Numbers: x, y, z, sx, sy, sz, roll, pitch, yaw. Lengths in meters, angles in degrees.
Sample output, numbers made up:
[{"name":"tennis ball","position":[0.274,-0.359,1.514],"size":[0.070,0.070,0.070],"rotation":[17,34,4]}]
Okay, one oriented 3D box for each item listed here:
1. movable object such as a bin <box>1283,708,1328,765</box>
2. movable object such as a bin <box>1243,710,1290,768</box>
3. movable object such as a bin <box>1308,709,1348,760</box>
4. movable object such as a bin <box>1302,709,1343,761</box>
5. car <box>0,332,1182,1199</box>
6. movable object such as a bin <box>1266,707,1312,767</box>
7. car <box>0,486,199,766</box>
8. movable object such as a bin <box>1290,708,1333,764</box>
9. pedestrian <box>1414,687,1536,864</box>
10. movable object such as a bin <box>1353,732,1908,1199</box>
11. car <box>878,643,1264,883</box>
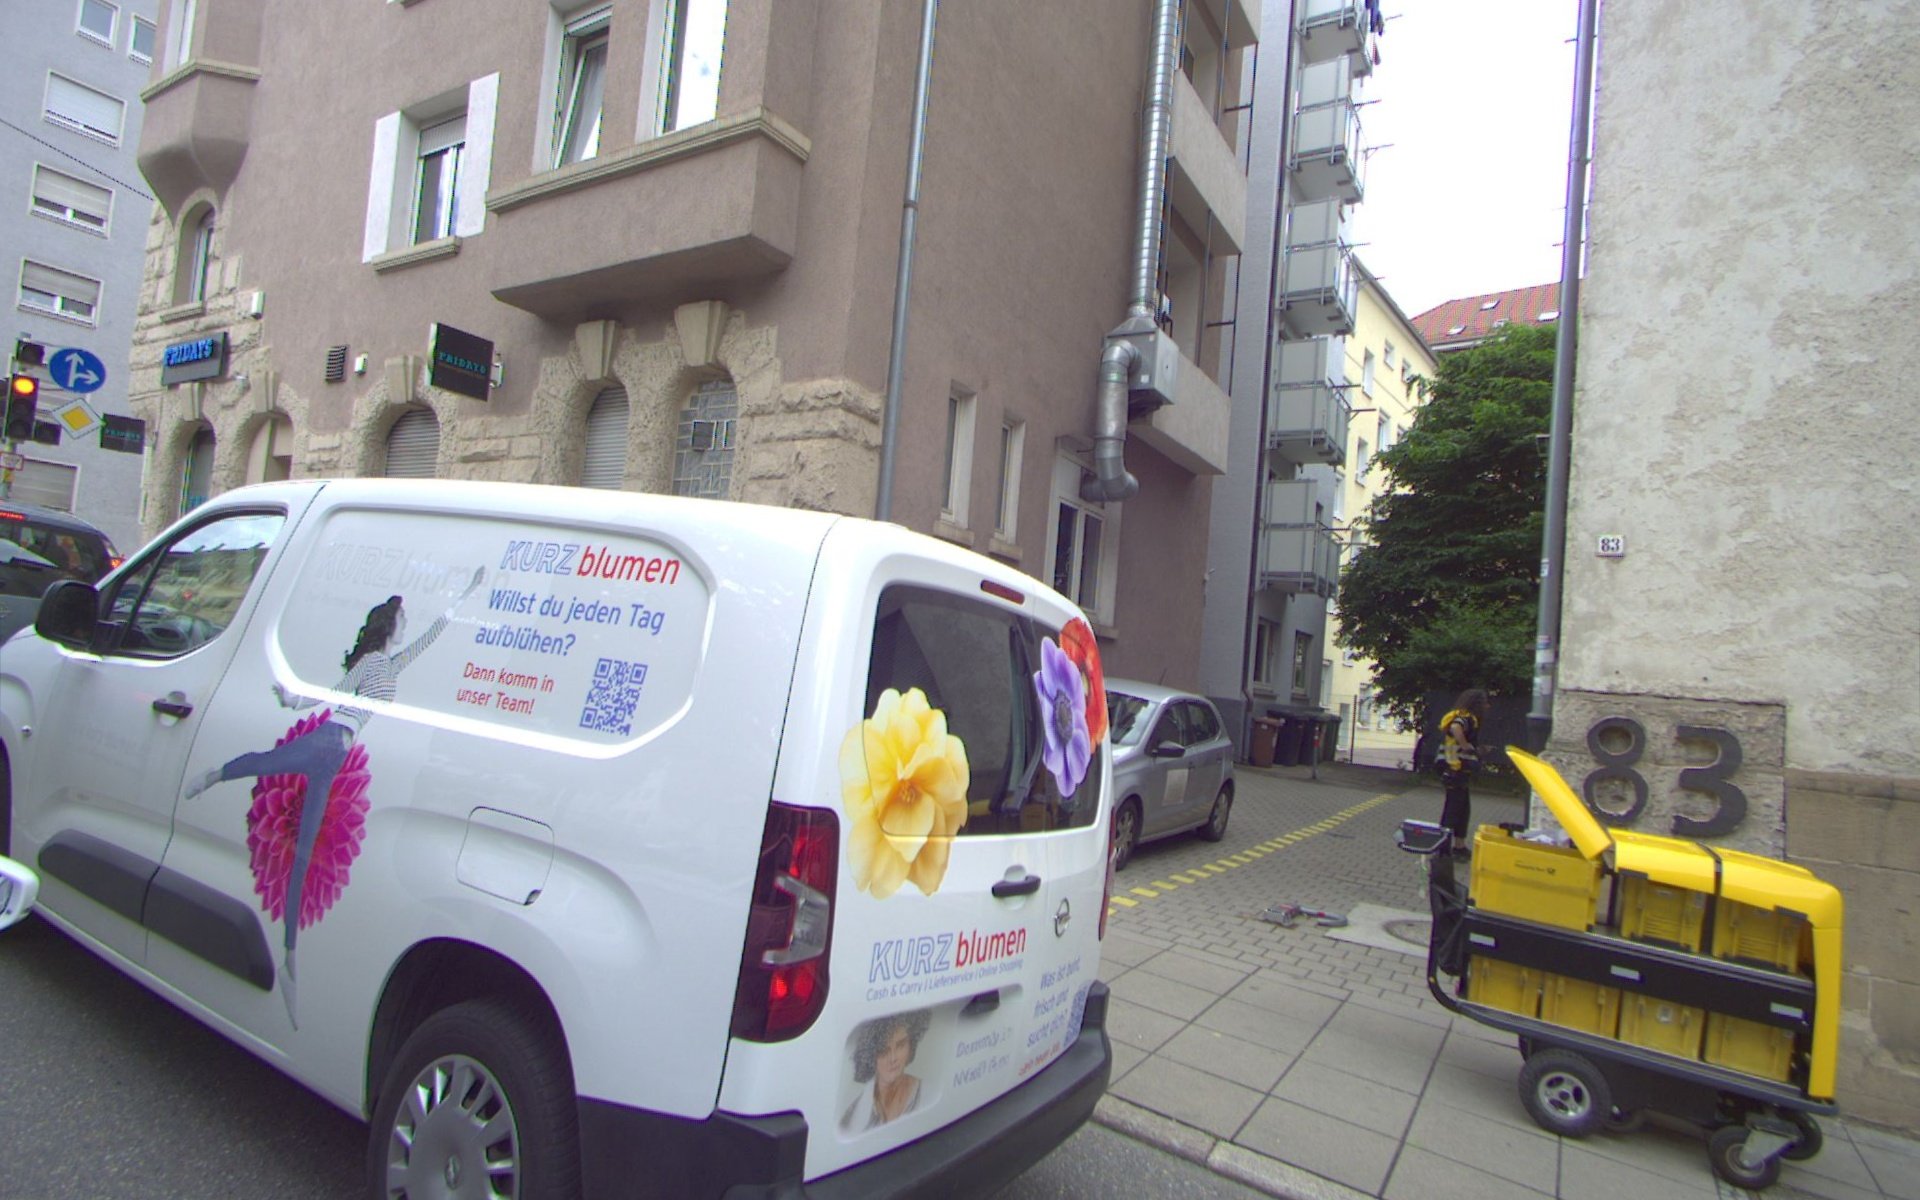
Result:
[{"name":"movable object such as a bin","position":[7.200,2.839,20.959],"size":[0.644,1.073,0.681],"rotation":[7,-1,31]},{"name":"movable object such as a bin","position":[5.860,2.644,19.210],"size":[0.626,0.997,0.572],"rotation":[7,-1,31]},{"name":"movable object such as a bin","position":[8.560,3.114,23.381],"size":[0.644,1.073,0.673],"rotation":[7,-1,31]},{"name":"movable object such as a bin","position":[8.216,3.042,22.781],"size":[0.644,1.073,0.673],"rotation":[7,-1,31]},{"name":"car","position":[-1.958,0.492,3.680],"size":[4.945,1.845,1.852],"rotation":[4,-4,37]},{"name":"movable object such as a bin","position":[6.568,2.726,20.087],"size":[0.644,1.073,0.572],"rotation":[7,-1,31]},{"name":"car","position":[-7.116,-0.009,6.812],"size":[3.570,1.609,1.758],"rotation":[6,-5,32]},{"name":"movable object such as a bin","position":[7.559,2.915,21.629],"size":[0.644,1.073,0.673],"rotation":[7,-1,31]},{"name":"pedestrian","position":[5.263,1.771,10.300],"size":[0.753,1.680,0.740],"rotation":[5,-3,-25]},{"name":"movable object such as a bin","position":[2.640,1.394,4.179],"size":[1.665,1.437,0.720],"rotation":[5,-1,31]},{"name":"car","position":[1.243,1.381,9.180],"size":[1.770,1.419,3.995],"rotation":[9,-1,33]}]
